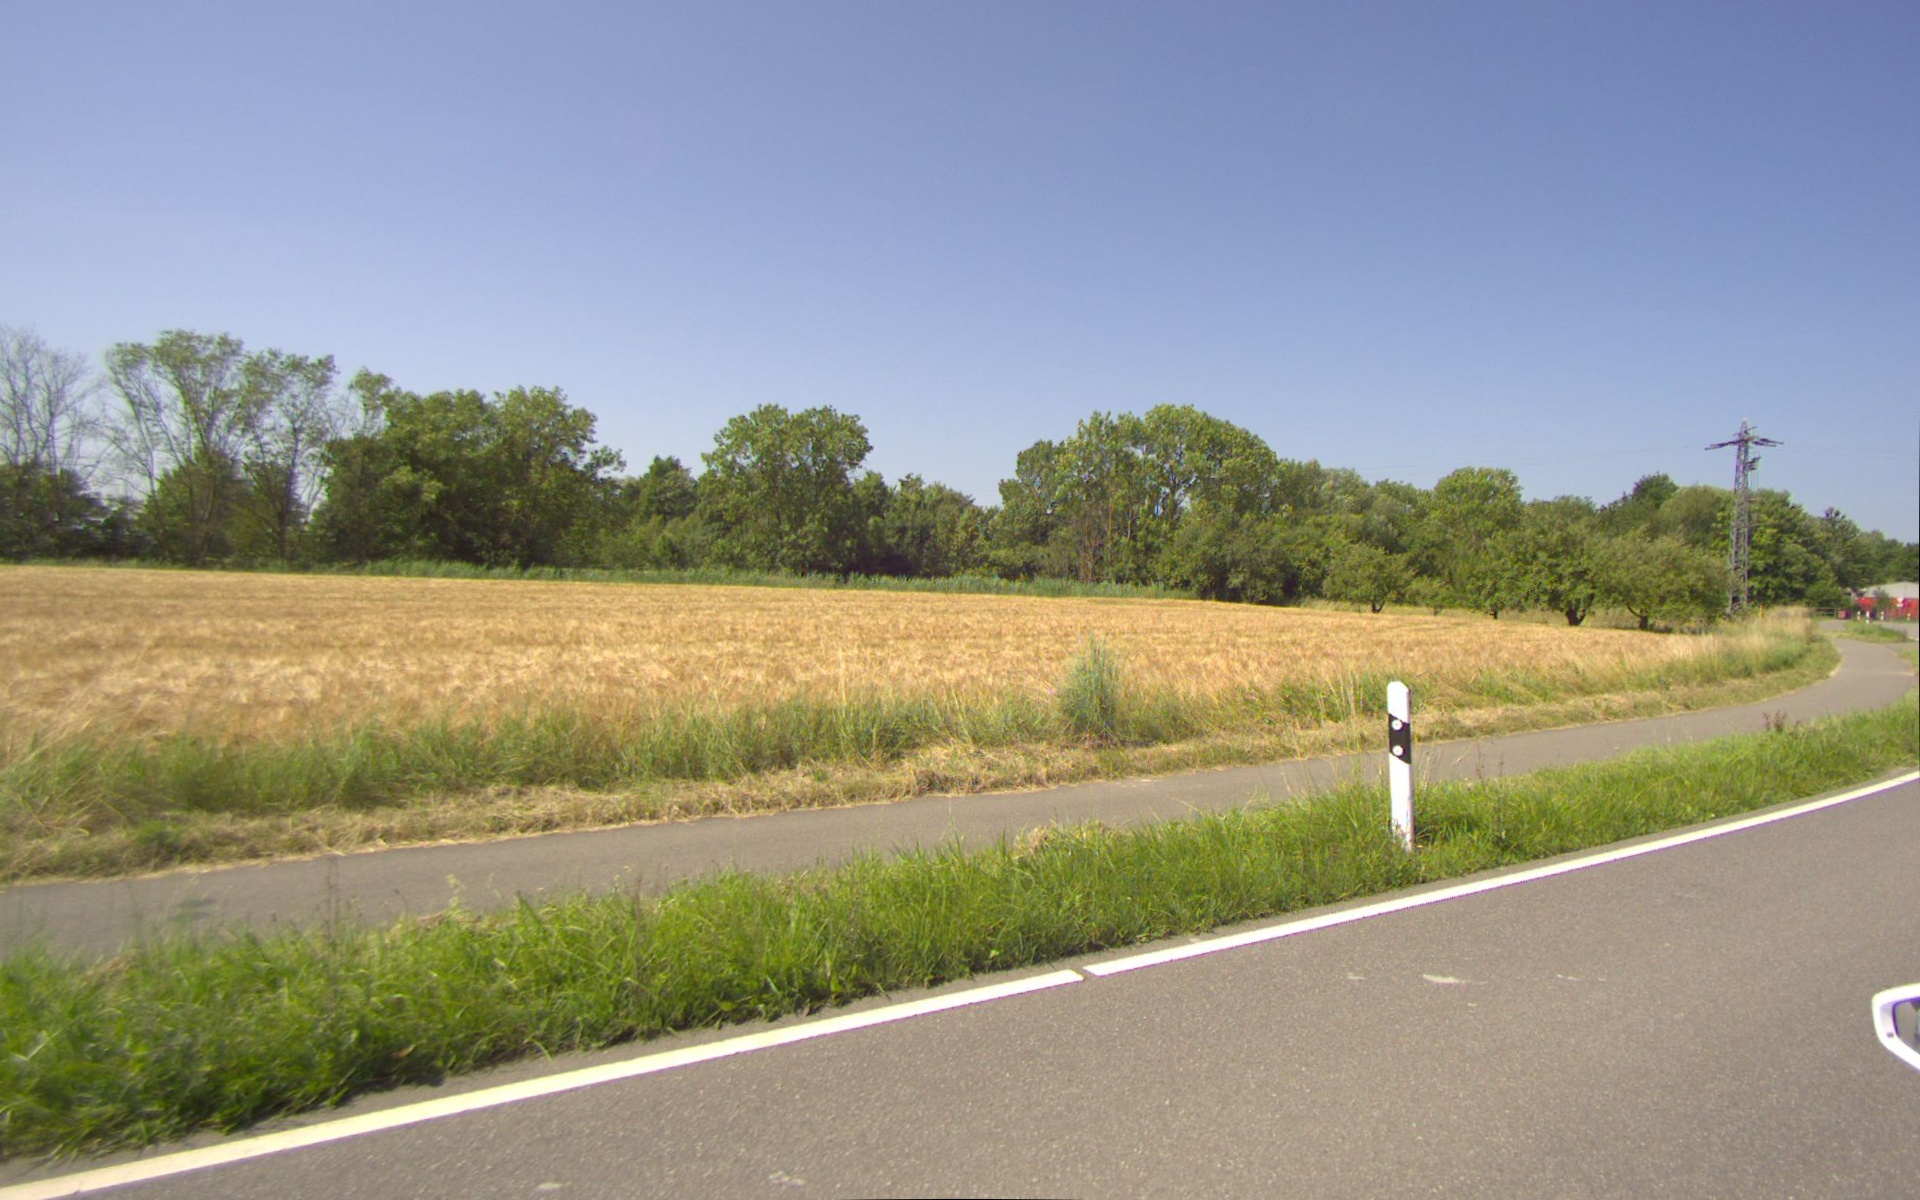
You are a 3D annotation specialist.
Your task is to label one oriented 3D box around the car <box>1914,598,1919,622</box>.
[{"bbox_3d":[95.838,1.040,99.358,1.971,2.296,4.699,3,2,42],"label":"car"}]
